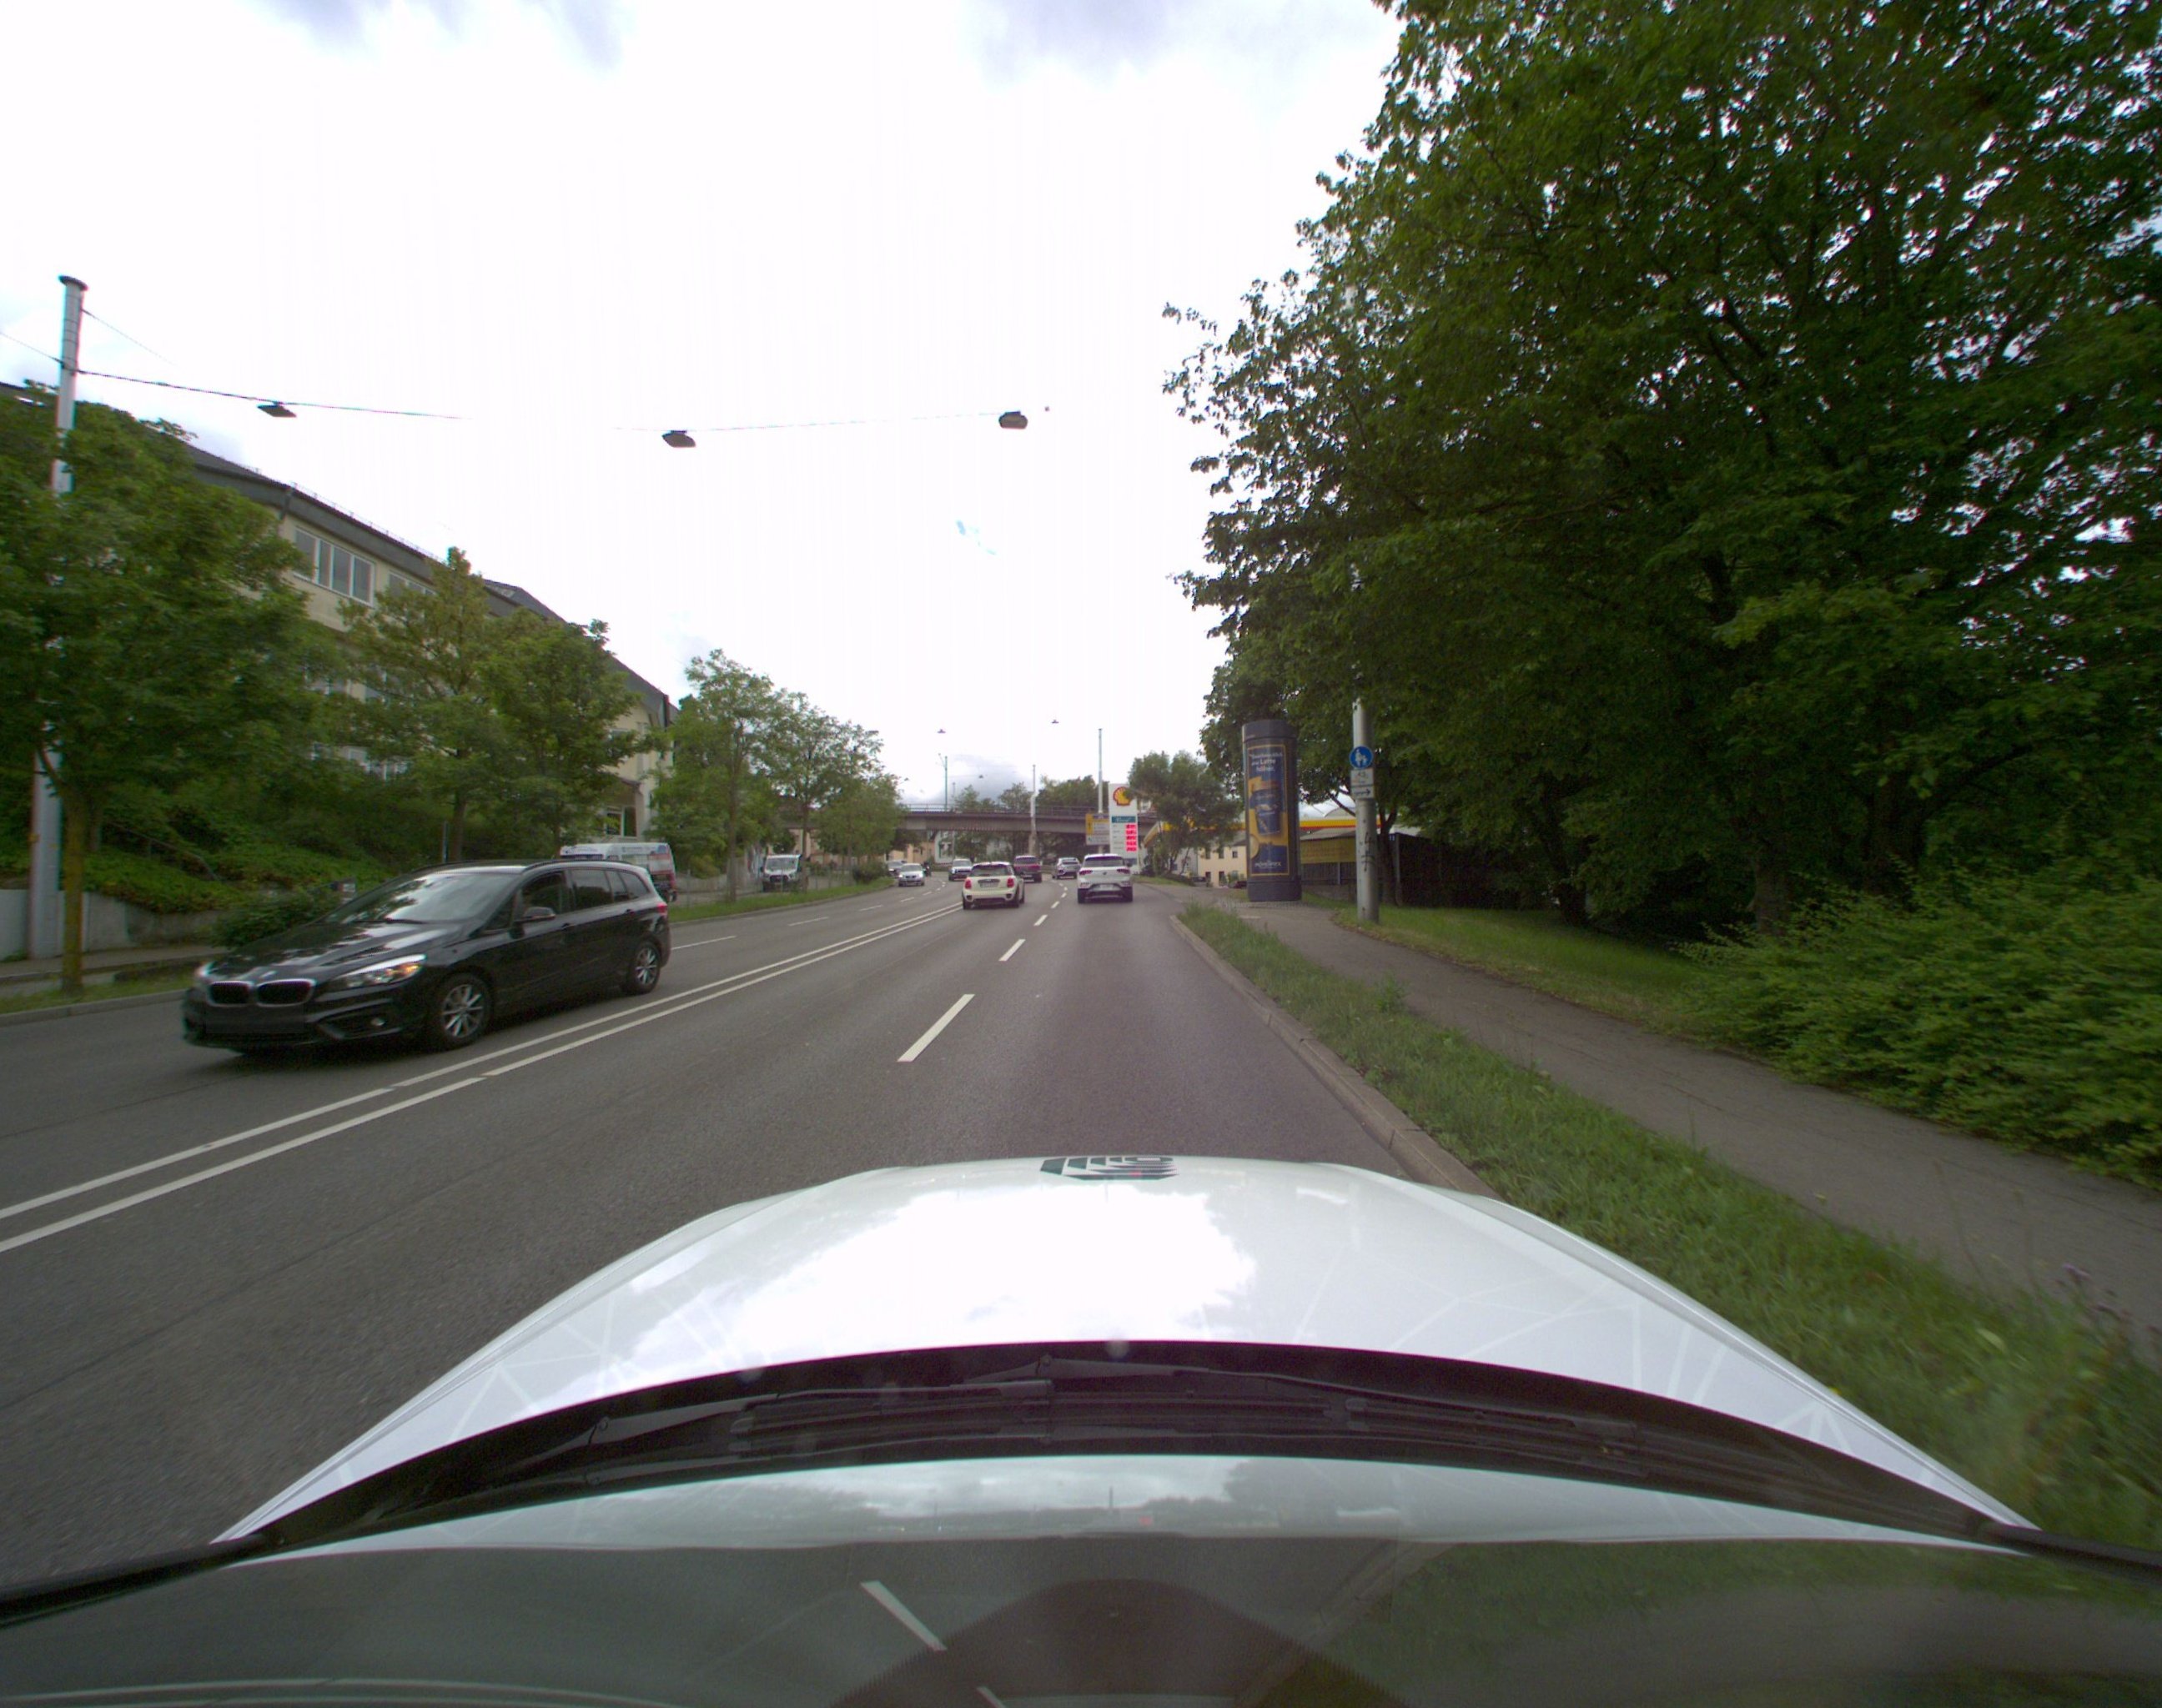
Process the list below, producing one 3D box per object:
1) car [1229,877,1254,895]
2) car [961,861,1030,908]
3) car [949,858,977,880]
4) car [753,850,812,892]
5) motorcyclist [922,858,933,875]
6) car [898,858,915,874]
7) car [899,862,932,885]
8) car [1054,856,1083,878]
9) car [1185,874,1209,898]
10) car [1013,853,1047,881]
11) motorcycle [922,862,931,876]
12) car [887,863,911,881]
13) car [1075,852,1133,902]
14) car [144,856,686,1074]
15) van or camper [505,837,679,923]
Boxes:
[{"bbox_3d":[14.752,2.995,74.881,1.728,1.486,3.880,-2,-4,4],"label":"car"},{"bbox_3d":[-2.646,0.916,25.989,1.716,1.376,3.458,-1,0,2],"label":"car"},{"bbox_3d":[-8.797,1.070,60.880,1.782,1.538,4.069,-1,0,-4],"label":"car"},{"bbox_3d":[-17.992,1.000,49.428,2.269,2.273,6.302,-2,0,-11],"label":"car"},{"bbox_3d":[-14.789,1.221,78.453,0.803,1.556,0.994,-1,0,-19],"label":"motorcyclist"},{"bbox_3d":[-21.266,1.470,99.325,1.900,1.937,3.980,-1,0,-14],"label":"car"},{"bbox_3d":[-10.892,1.235,53.719,1.562,1.431,3.886,-1,0,-3],"label":"car"},{"bbox_3d":[-0.883,0.860,55.267,1.673,1.409,3.450,-1,0,-5],"label":"car"},{"bbox_3d":[10.465,2.900,73.922,1.728,2.011,4.716,-2,-4,4],"label":"car"},{"bbox_3d":[-3.087,0.775,49.424,1.716,1.640,3.458,-1,0,2],"label":"car"},{"bbox_3d":[-14.879,1.402,78.363,0.592,1.305,2.442,-1,0,-18],"label":"motorcycle"},{"bbox_3d":[-17.256,1.692,76.929,1.790,1.575,4.441,-2,0,-17],"label":"car"},{"bbox_3d":[0.766,0.717,26.840,1.790,1.519,3.458,-1,0,2],"label":"car"},{"bbox_3d":[-5.990,0.825,8.205,1.757,1.592,4.367,-1,0,2],"label":"car"},{"bbox_3d":[-15.832,0.788,26.874,1.985,2.473,5.714,-2,0,3],"label":"van or camper"}]
